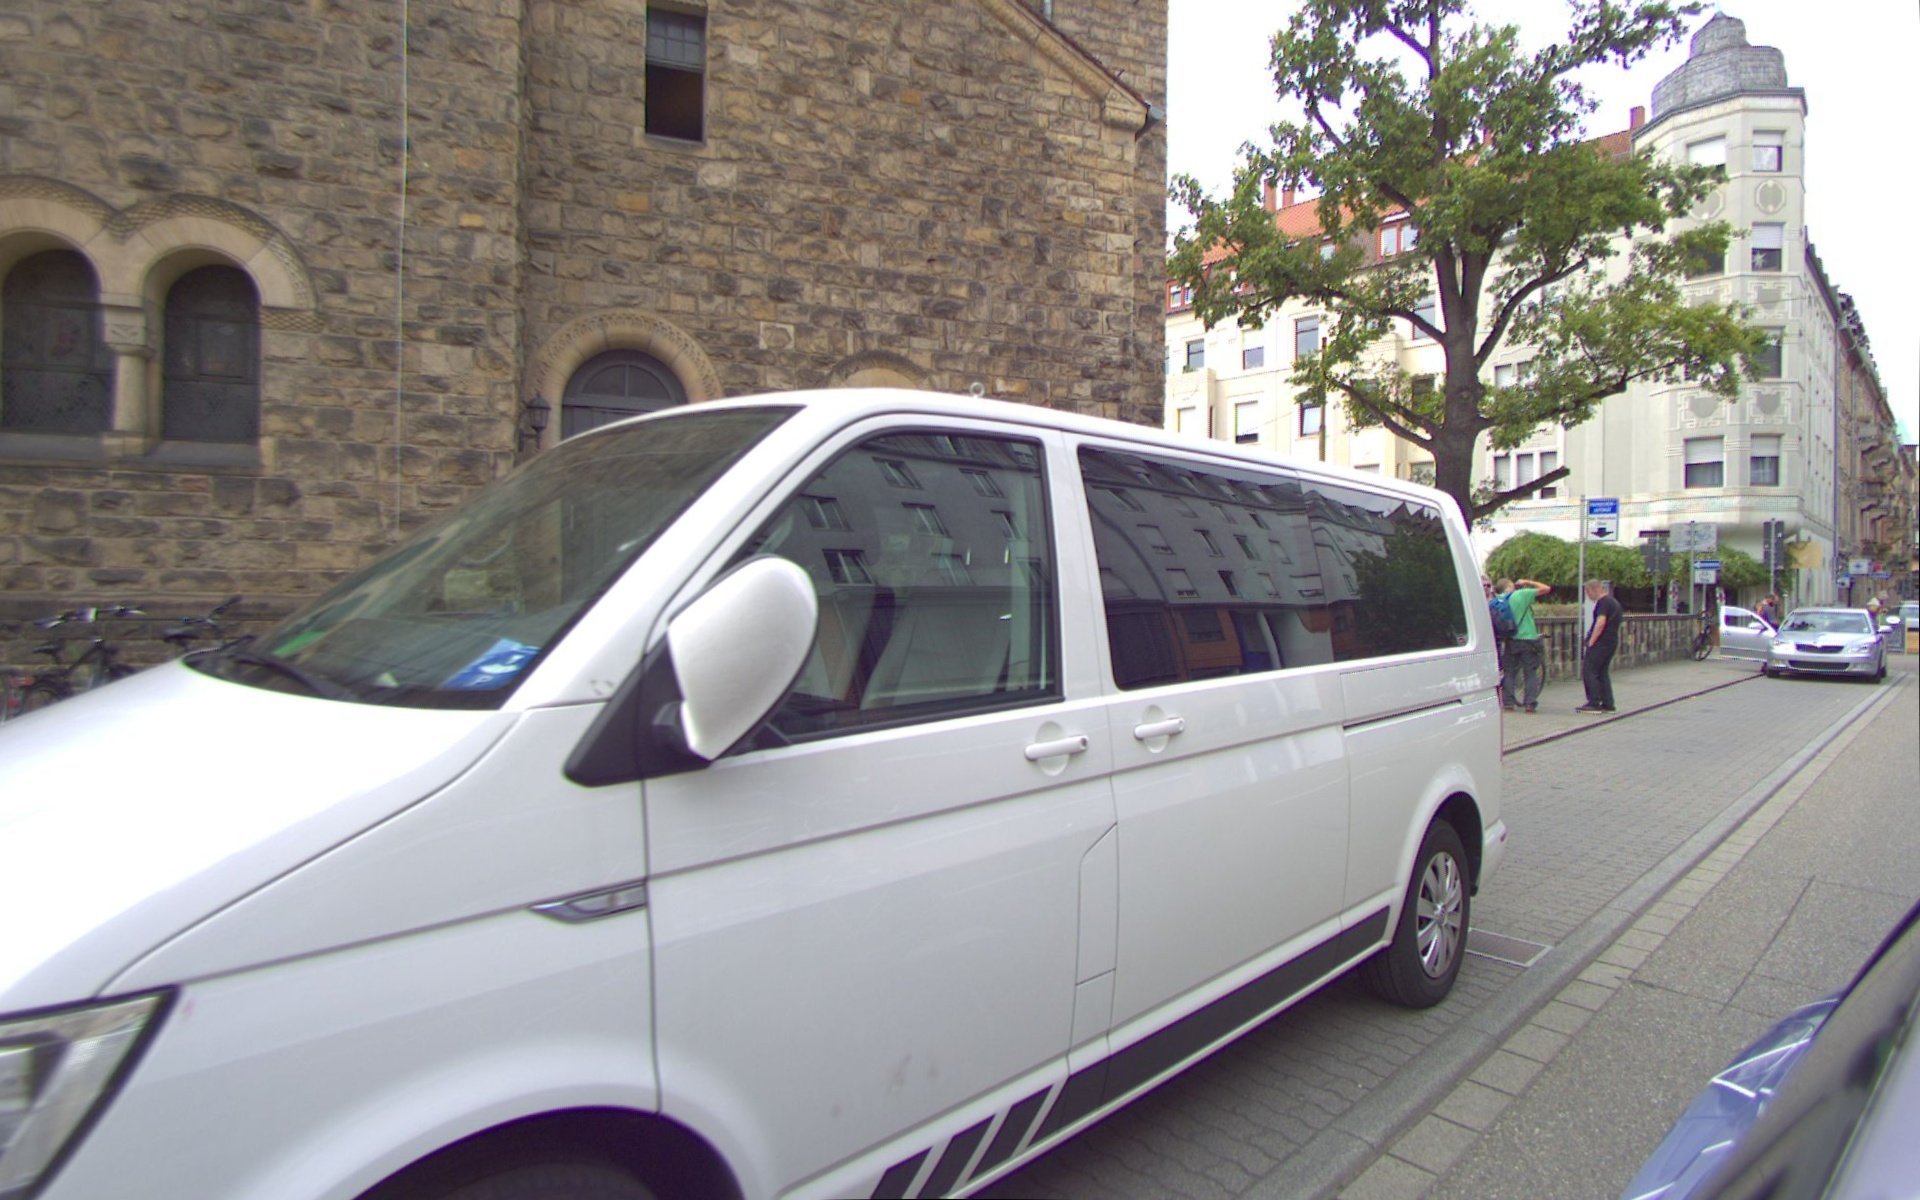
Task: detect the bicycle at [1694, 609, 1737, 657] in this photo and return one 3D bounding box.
[{"bbox_3d":[18.434,0.779,24.682,1.945,1.119,0.522,1,-1,-43],"label":"bicycle"}]

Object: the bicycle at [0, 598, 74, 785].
[{"bbox_3d":[-6.220,0.563,6.318,0.534,1.126,1.786,1,1,-25],"label":"bicycle"}]

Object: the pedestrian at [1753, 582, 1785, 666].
[{"bbox_3d":[17.172,0.502,21.481,0.403,1.757,0.468,1,0,-44],"label":"pedestrian"}]

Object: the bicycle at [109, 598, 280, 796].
[{"bbox_3d":[-5.089,0.568,6.830,0.534,1.126,1.786,1,1,-25],"label":"bicycle"}]

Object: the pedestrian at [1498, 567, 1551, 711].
[{"bbox_3d":[7.013,0.463,12.591,0.526,1.741,0.505,0,0,24],"label":"pedestrian"}]

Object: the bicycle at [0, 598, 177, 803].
[{"bbox_3d":[-5.661,0.566,6.551,0.534,1.126,1.778,1,1,-25],"label":"bicycle"}]

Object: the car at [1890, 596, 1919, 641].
[{"bbox_3d":[38.130,0.718,39.750,3.934,1.693,1.853,1,-1,-40],"label":"car"}]

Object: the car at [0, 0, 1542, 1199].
[{"bbox_3d":[-0.067,0.347,3.156,2.015,2.054,5.040,2,1,45],"label":"car"}]

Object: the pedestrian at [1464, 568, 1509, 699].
[{"bbox_3d":[7.185,0.447,13.824,0.504,1.741,0.527,0,0,25],"label":"pedestrian"}]

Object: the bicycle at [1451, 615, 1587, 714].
[{"bbox_3d":[6.991,0.779,12.645,1.716,1.164,0.535,0,0,-23],"label":"bicycle"}]

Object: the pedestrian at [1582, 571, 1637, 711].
[{"bbox_3d":[8.282,0.504,12.917,0.503,1.741,0.527,0,0,24],"label":"pedestrian"}]

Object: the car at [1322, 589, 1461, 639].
[{"bbox_3d":[14.897,0.468,35.050,1.815,1.555,4.030,4,-2,-41],"label":"car"}]

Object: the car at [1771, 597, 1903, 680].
[{"bbox_3d":[18.005,0.711,20.702,1.756,1.487,4.347,1,1,45],"label":"car"}]
